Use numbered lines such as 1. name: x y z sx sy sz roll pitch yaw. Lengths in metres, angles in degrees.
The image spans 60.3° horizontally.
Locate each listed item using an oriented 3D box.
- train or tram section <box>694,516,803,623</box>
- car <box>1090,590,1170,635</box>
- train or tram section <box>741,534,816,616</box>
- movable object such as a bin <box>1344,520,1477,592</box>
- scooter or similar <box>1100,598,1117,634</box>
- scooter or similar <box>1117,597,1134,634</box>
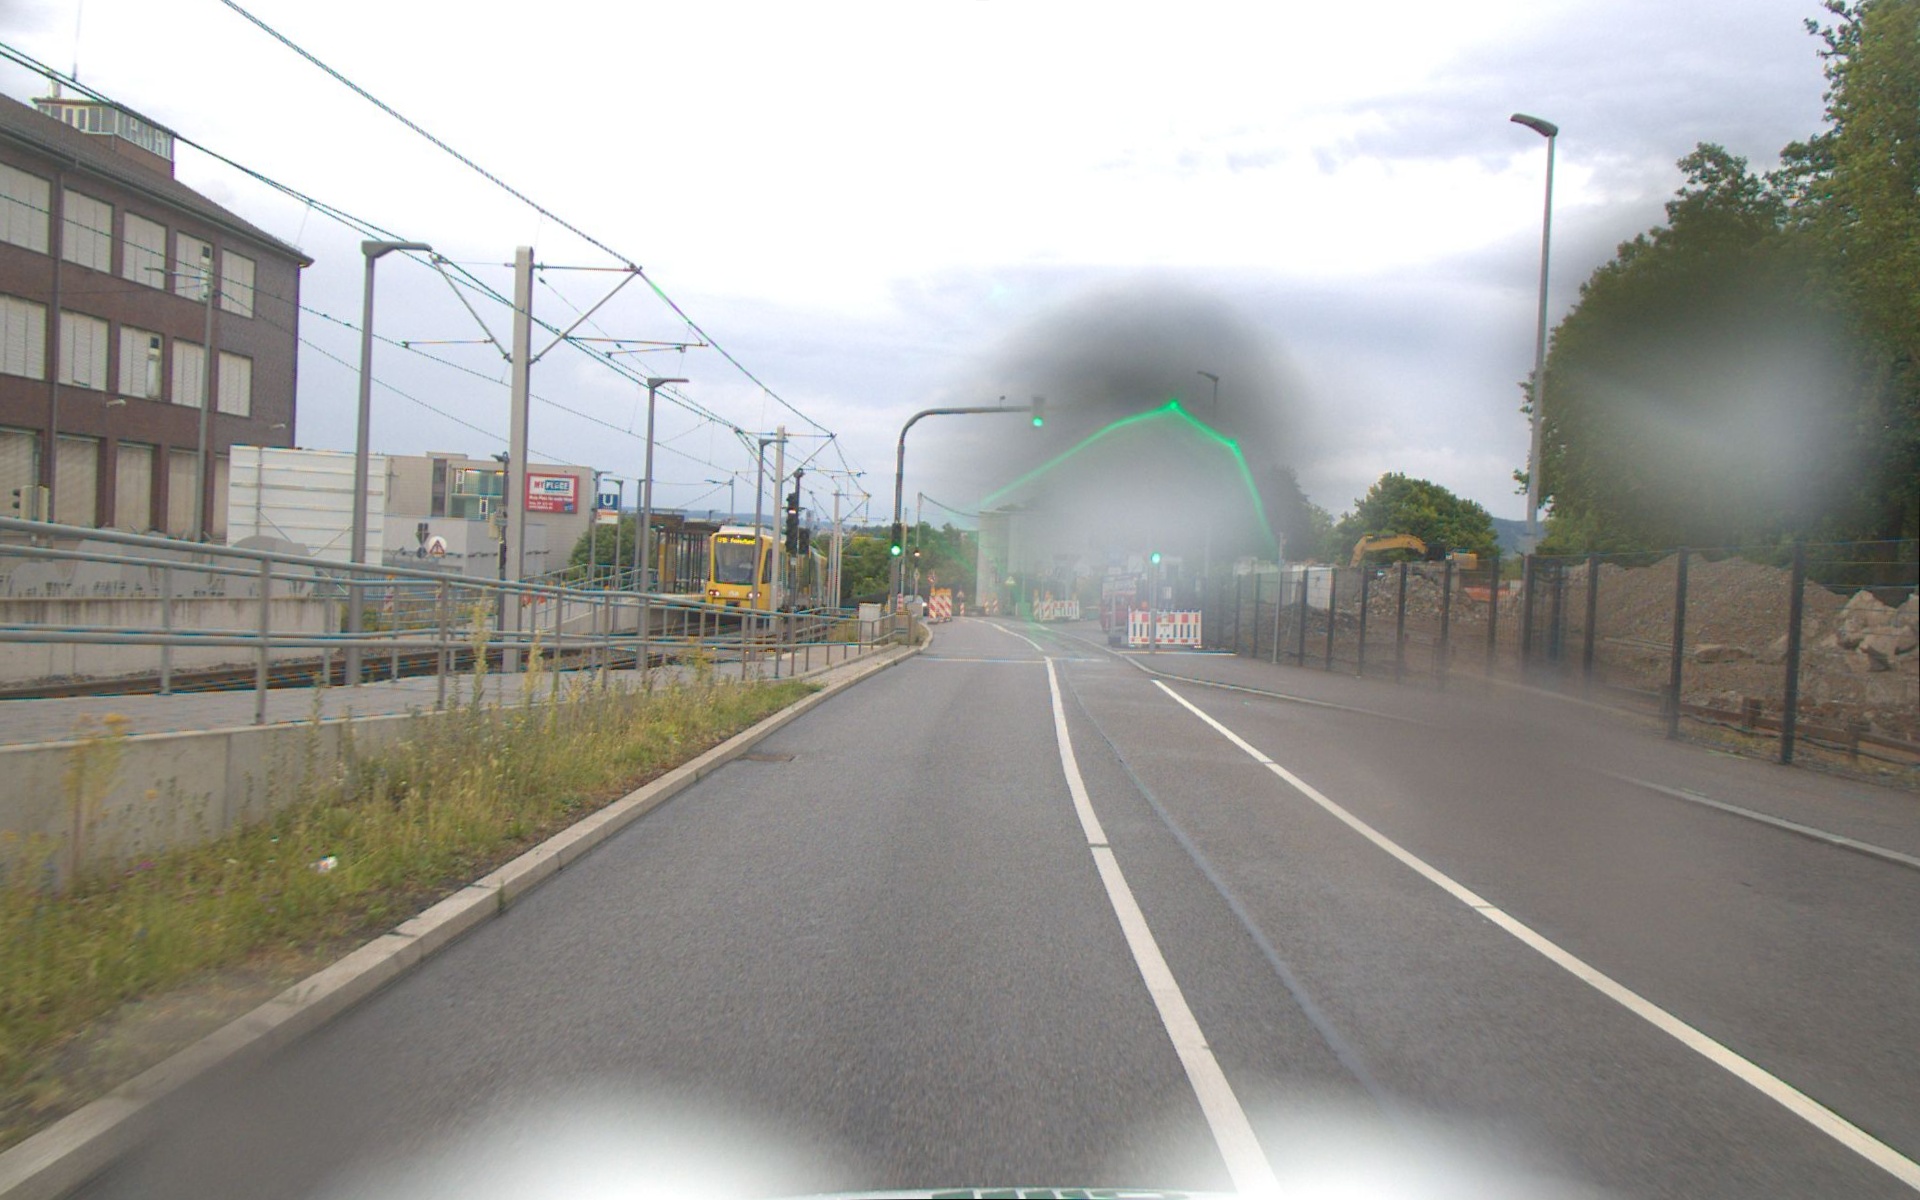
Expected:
1. train or tram section: -9.031 -1.211 73.095 2.896 3.953 19.563 3 0 -2
2. car: 7.293 0.531 70.623 1.785 1.825 4.400 2 0 29
3. train or tram section: -9.931 -1.310 92.499 2.896 3.953 19.279 3 0 -3
4. movable object such as a bin: 40.202 -3.923 147.888 10.993 6.100 3.493 1 0 7
5. scooter or similar: 5.807 0.619 64.813 0.602 1.375 1.913 2 0 5
6. scooter or similar: 6.492 0.592 64.743 0.602 1.375 1.913 2 0 5
